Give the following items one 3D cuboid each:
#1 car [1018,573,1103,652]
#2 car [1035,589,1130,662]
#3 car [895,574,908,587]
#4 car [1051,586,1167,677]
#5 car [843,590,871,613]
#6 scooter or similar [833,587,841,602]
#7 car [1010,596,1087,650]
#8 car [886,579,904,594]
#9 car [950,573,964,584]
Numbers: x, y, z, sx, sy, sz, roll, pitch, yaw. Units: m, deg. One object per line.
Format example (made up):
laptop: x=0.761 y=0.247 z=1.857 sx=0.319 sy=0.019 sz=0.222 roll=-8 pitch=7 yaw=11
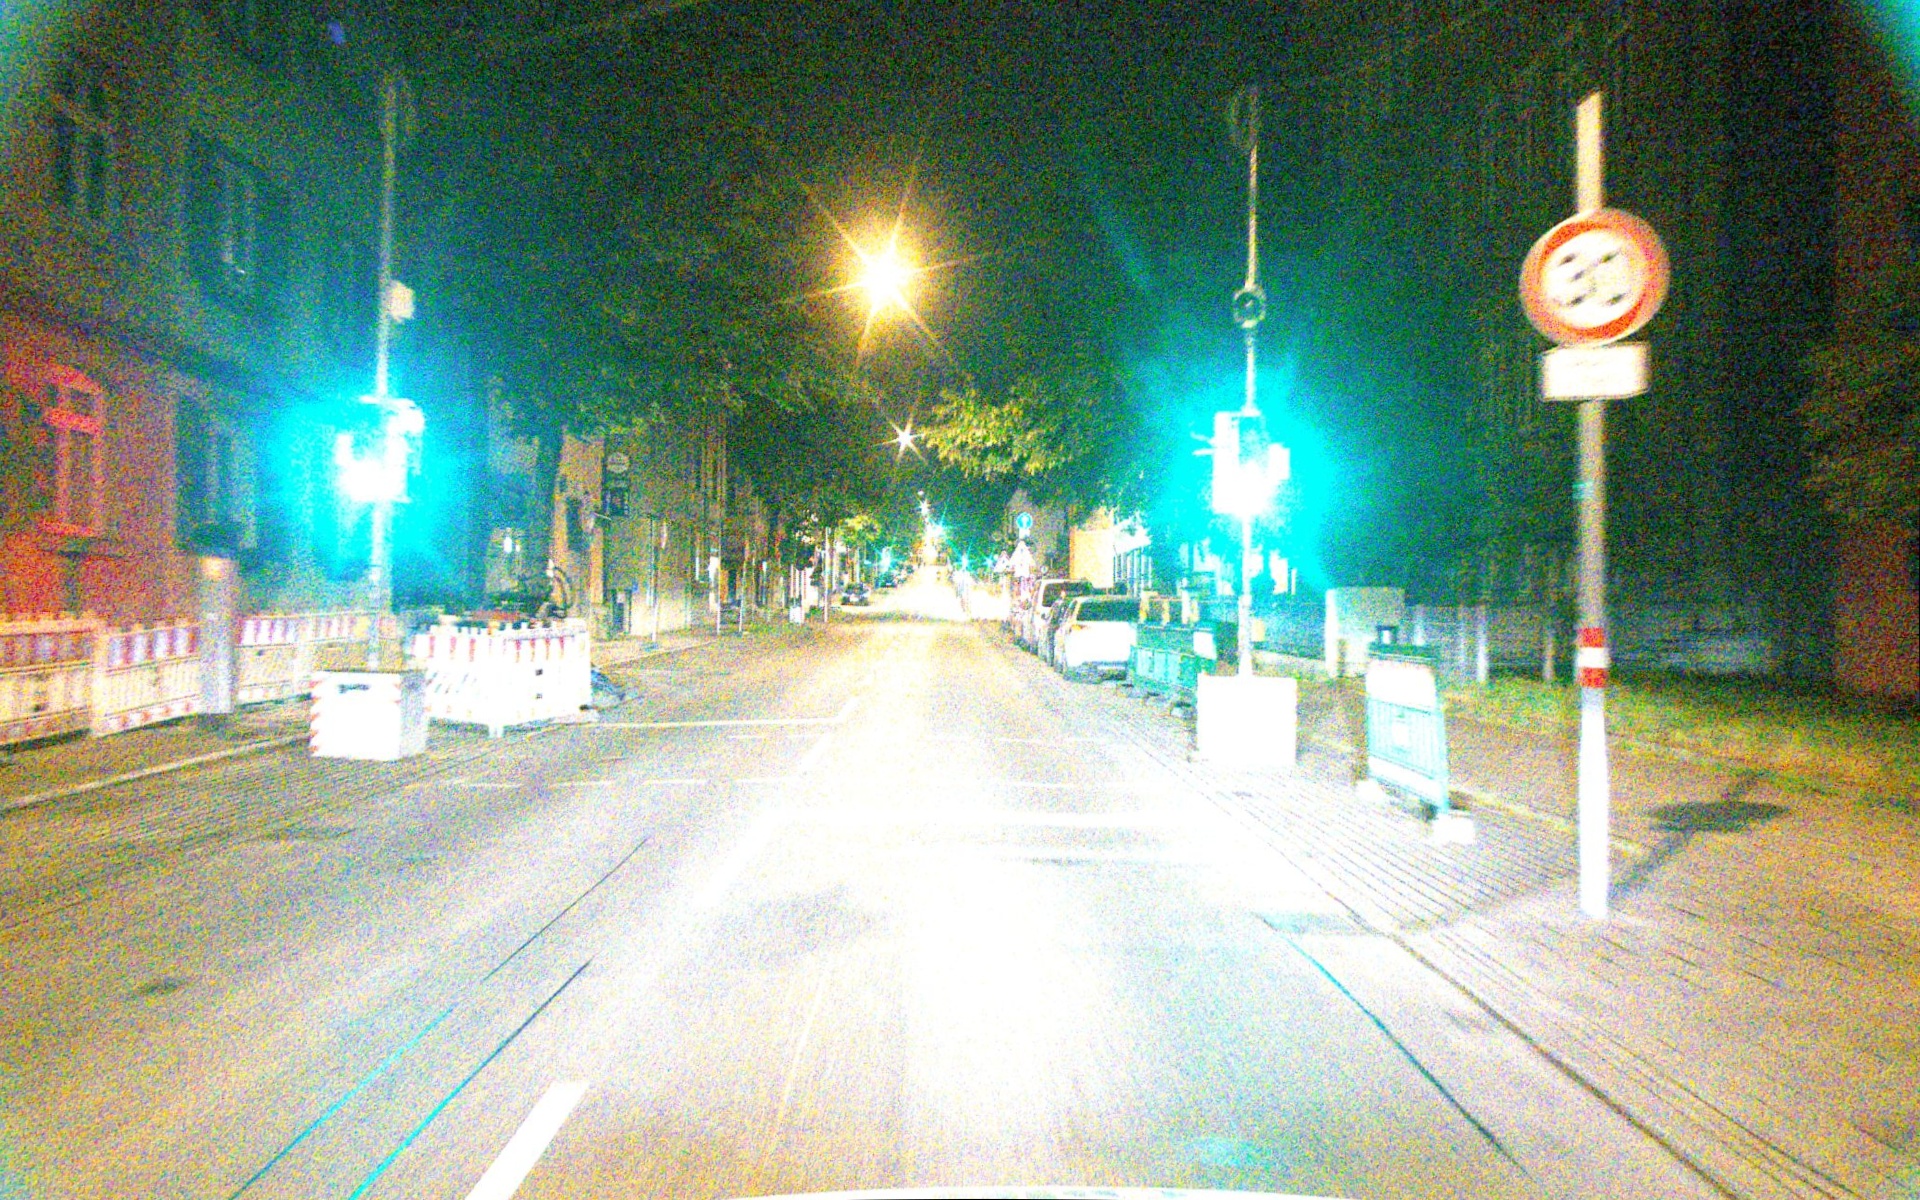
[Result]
car: x=2.468 y=0.290 z=41.489 sx=1.700 sy=1.887 sz=4.314 roll=0 pitch=0 yaw=-2
car: x=2.562 y=0.509 z=35.491 sx=1.651 sy=1.445 sz=4.442 roll=0 pitch=0 yaw=-1
car: x=-8.590 y=-2.819 z=242.169 sx=1.835 sy=1.846 sz=4.204 roll=1 pitch=1 yaw=-1
car: x=2.664 y=0.529 z=30.342 sx=1.704 sy=1.503 sz=4.000 roll=-2 pitch=0 yaw=0
car: x=-6.742 y=0.086 z=108.382 sx=1.637 sy=1.468 sz=4.204 roll=1 pitch=1 yaw=-1
scooter or similar: x=-9.991 y=-0.457 z=134.298 sx=0.517 sy=1.185 sz=2.506 roll=-1 pitch=-1 yaw=-1
car: x=2.449 y=0.606 z=46.529 sx=1.693 sy=1.444 sz=4.320 roll=0 pitch=0 yaw=-3
car: x=-7.122 y=-1.500 z=180.426 sx=1.835 sy=1.571 sz=4.204 roll=1 pitch=1 yaw=-1
car: x=-0.425 y=-2.991 z=231.048 sx=1.835 sy=1.571 sz=4.204 roll=1 pitch=1 yaw=-1
